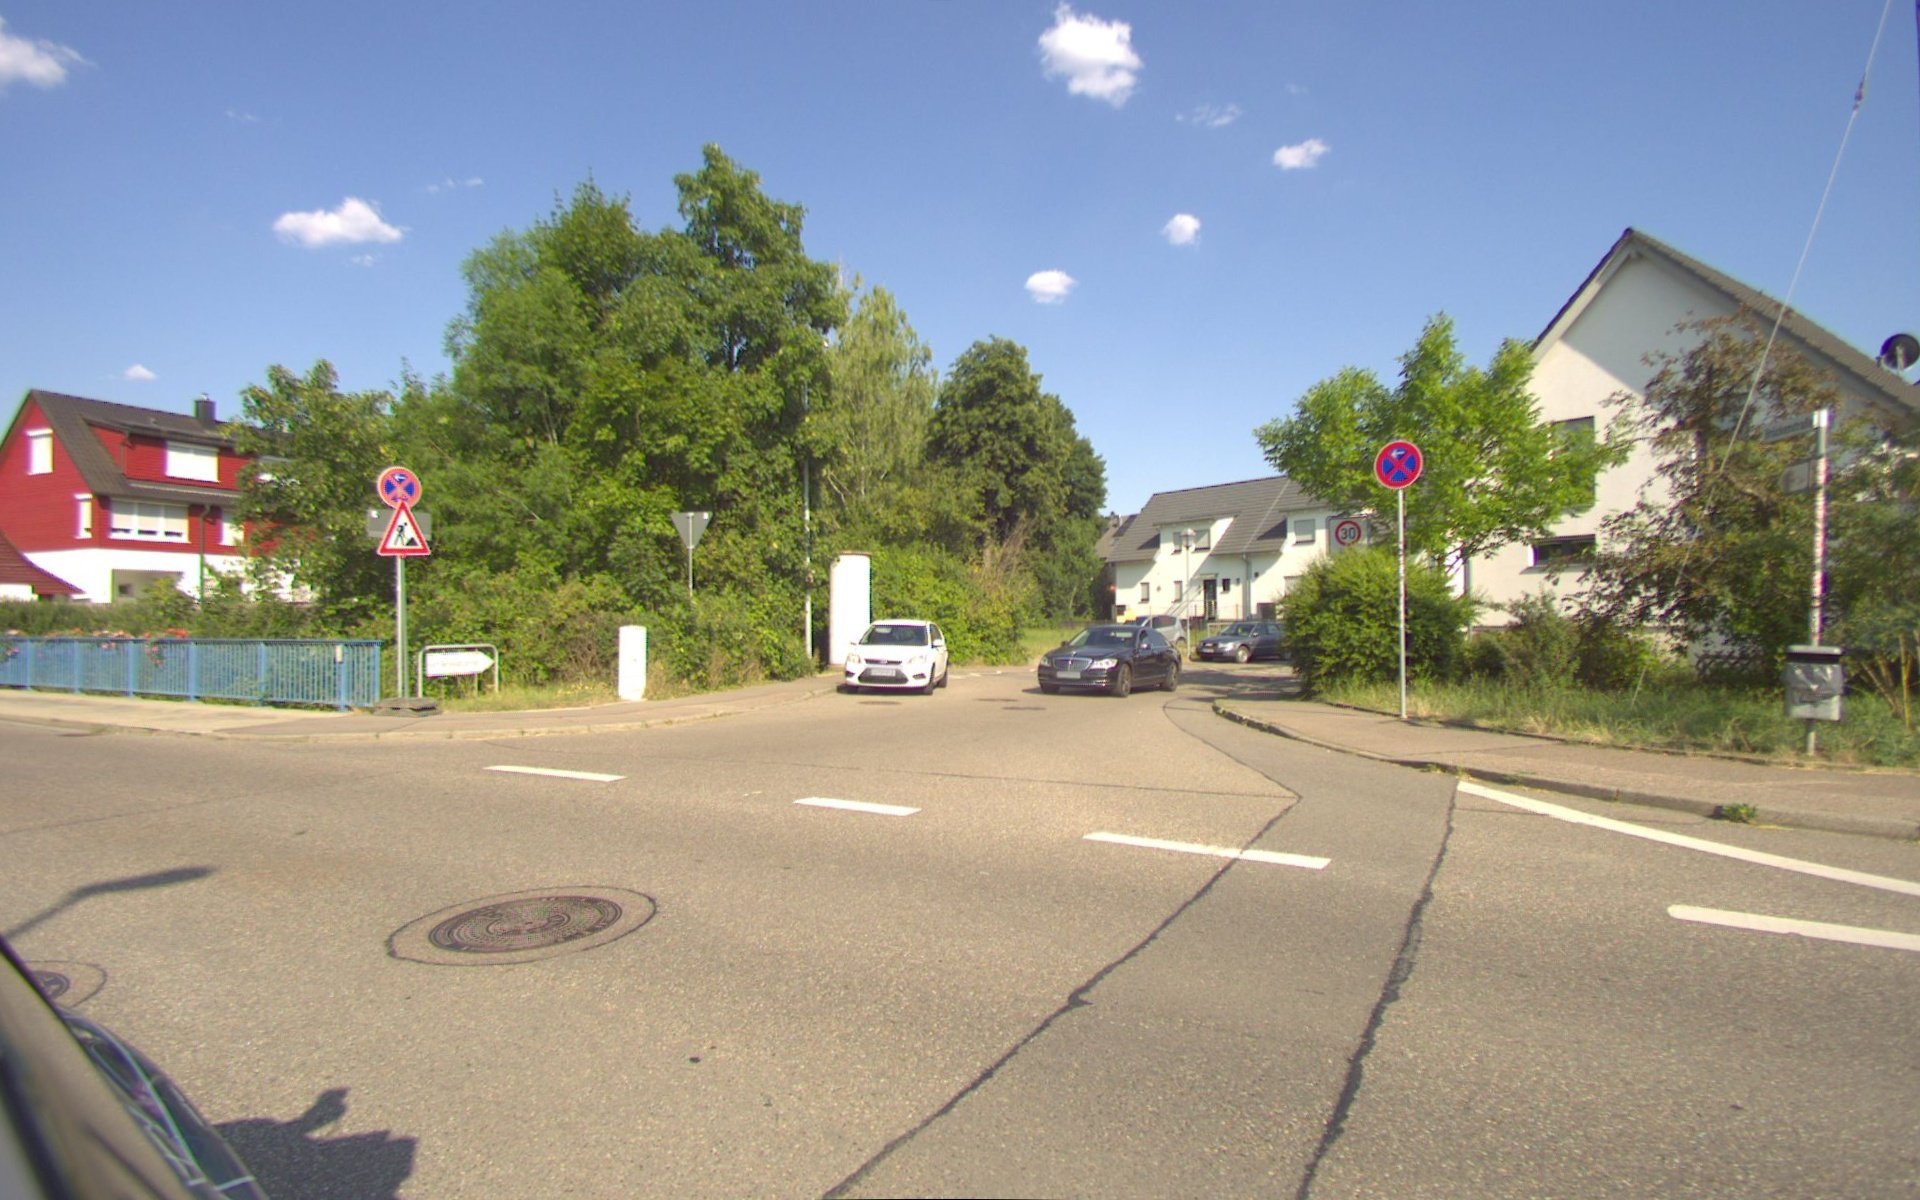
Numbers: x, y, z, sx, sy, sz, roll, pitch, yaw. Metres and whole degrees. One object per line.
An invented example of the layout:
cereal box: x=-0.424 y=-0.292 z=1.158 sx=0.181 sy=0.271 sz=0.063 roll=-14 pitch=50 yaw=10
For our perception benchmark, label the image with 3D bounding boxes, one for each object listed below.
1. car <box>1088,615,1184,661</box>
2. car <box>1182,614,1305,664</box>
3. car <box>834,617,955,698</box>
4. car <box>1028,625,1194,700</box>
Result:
car: x=6.806 y=1.448 z=38.957 sx=1.771 sy=1.672 sz=3.985 roll=-1 pitch=-2 yaw=43
car: x=10.267 y=1.362 z=36.539 sx=4.516 sy=1.701 sz=2.121 roll=1 pitch=-1 yaw=-40
car: x=-1.254 y=1.127 z=21.164 sx=1.839 sy=1.503 sz=4.267 roll=0 pitch=-1 yaw=6
car: x=3.437 y=1.287 z=22.171 sx=1.766 sy=1.442 sz=4.789 roll=-1 pitch=-2 yaw=34
